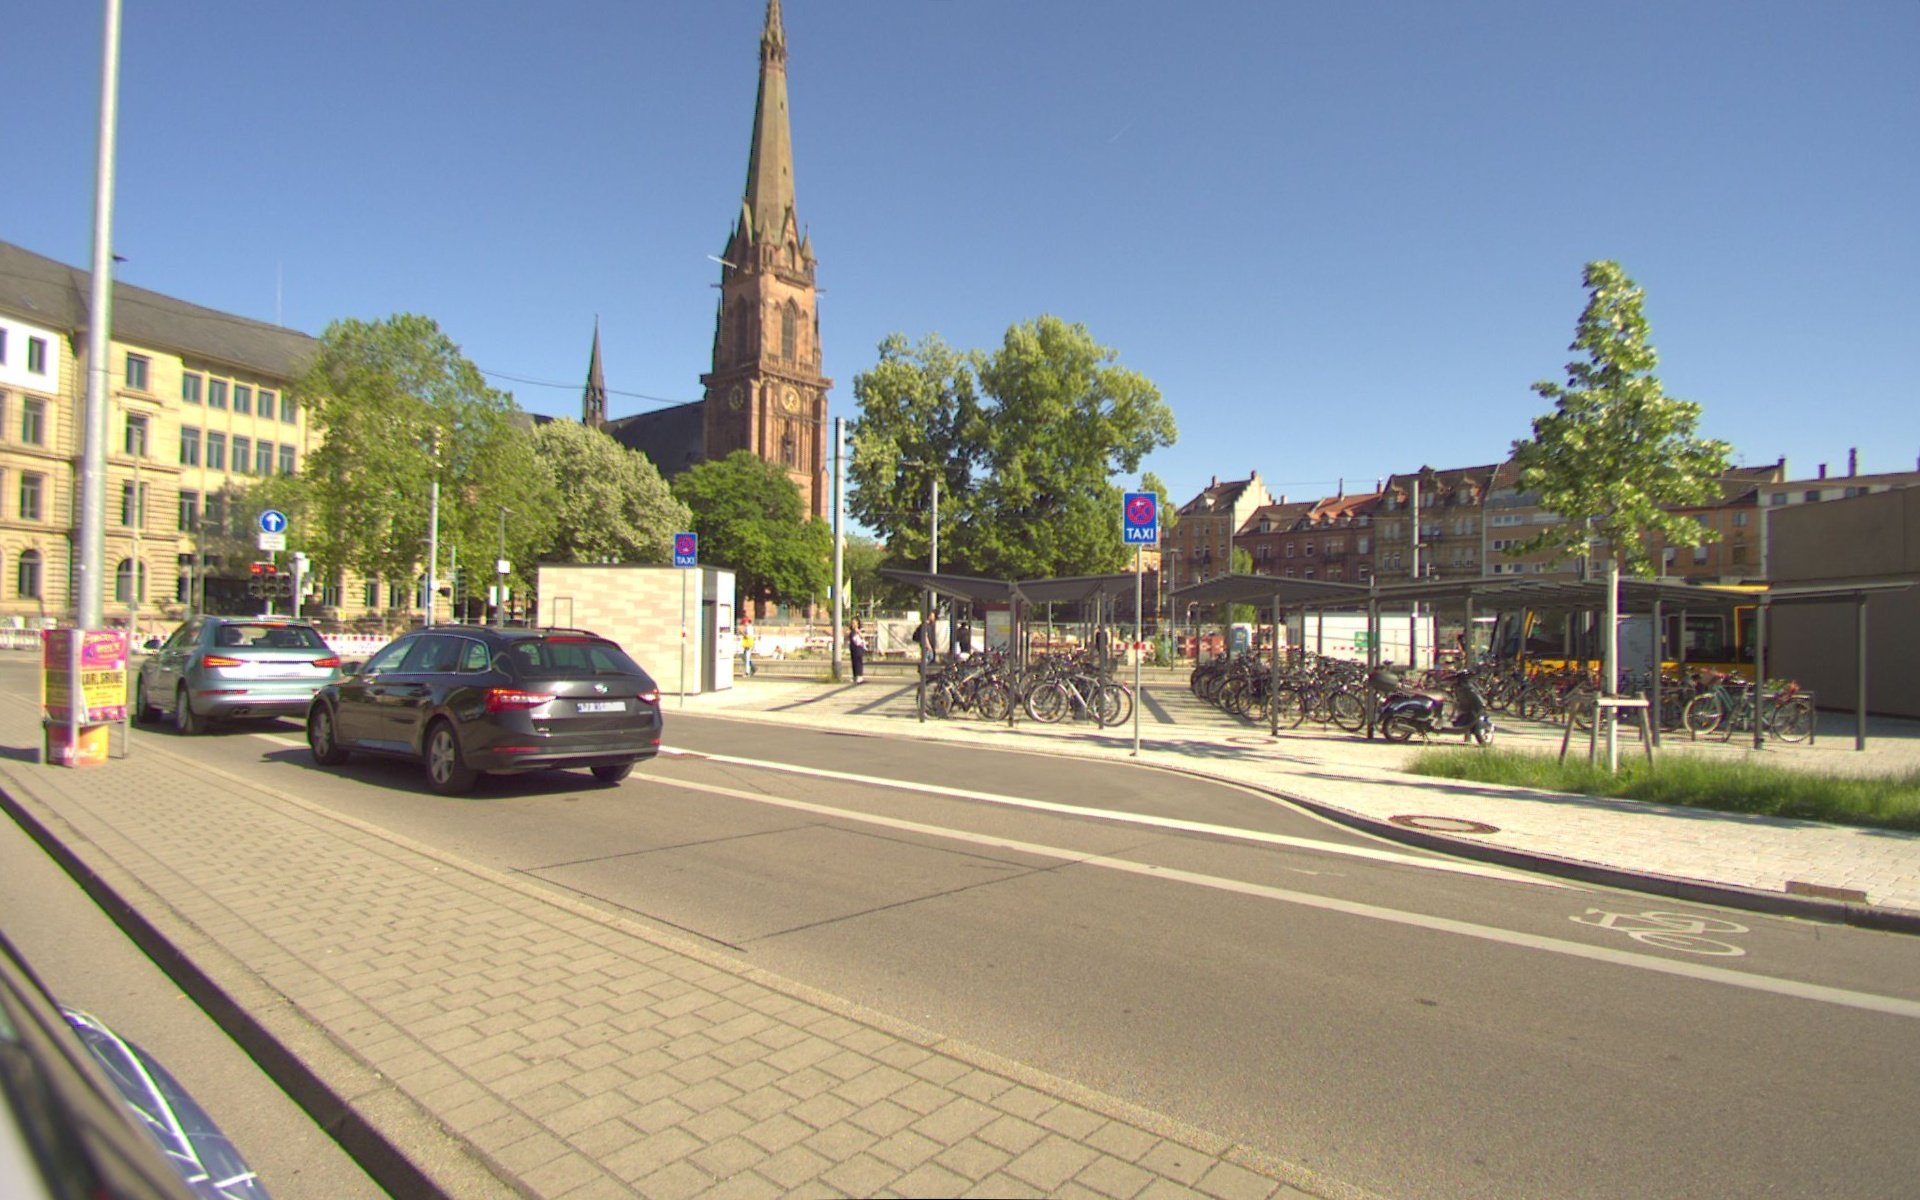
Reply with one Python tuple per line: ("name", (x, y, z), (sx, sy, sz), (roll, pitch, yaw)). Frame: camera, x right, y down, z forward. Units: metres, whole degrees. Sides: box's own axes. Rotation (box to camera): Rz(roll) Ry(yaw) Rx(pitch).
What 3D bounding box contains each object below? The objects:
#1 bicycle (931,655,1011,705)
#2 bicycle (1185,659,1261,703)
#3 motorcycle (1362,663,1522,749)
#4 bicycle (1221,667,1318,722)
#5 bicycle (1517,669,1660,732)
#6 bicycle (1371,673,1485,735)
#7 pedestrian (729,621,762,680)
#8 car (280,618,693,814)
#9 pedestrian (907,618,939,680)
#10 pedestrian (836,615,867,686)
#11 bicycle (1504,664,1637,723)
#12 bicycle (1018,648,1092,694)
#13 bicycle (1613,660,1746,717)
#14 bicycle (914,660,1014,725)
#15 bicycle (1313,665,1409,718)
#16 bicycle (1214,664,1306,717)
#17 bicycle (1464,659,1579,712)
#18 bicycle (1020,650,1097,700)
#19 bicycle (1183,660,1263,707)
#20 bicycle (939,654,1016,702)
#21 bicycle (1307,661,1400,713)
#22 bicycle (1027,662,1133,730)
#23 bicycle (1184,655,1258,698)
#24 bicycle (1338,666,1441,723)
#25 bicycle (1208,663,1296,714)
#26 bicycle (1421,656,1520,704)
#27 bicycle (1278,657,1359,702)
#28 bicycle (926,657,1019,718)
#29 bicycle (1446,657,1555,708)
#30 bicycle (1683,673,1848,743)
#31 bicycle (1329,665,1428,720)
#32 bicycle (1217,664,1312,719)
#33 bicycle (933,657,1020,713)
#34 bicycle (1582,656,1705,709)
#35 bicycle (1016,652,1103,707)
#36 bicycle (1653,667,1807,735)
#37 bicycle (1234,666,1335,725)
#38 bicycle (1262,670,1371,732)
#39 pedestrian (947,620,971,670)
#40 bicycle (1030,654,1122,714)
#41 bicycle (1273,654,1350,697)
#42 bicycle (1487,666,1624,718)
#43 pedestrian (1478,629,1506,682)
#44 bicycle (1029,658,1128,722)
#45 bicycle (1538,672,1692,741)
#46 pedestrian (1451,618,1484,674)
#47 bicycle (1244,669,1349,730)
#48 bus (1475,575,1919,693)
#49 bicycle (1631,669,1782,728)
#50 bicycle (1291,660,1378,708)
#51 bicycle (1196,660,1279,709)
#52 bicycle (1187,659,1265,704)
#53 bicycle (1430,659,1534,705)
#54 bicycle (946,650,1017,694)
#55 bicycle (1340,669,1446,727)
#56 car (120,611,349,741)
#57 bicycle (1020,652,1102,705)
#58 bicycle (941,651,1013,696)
("bicycle", (0.230, 1.677, 21.402), (1.663, 1.006, 0.406), (0, 0, 8))
("bicycle", (6.138, 1.882, 23.622), (1.661, 0.980, 0.406), (1, -5, 3))
("motorcycle", (7.194, 1.571, 15.157), (2.059, 1.228, 0.569), (-1, -2, 3))
("bicycle", (5.729, 1.751, 18.766), (1.661, 0.980, 0.406), (-1, 0, 3))
("bicycle", (10.925, 1.740, 17.644), (2.048, 1.045, 0.533), (-1, 0, 8))
("bicycle", (7.768, 1.725, 16.819), (1.661, 0.980, 0.406), (-1, 0, 3))
("pedestrian", (-6.013, 1.408, 28.381), (0.694, 1.635, 0.618), (0, -2, 10))
("car", (-4.869, 0.991, 10.060), (4.780, 1.516, 1.795), (-1, -4, 40))
("pedestrian", (-1.051, 1.395, 28.814), (0.823, 1.740, 0.620), (0, -2, 4))
("pedestrian", (-2.906, 1.342, 27.238), (0.614, 1.874, 0.699), (0, -2, 14))
("bicycle", (11.322, 1.734, 18.810), (2.048, 1.045, 0.533), (-1, 0, 8))
("bicycle", (2.315, 1.725, 24.675), (1.755, 1.083, 0.406), (1, 0, 6))
("bicycle", (13.853, 1.701, 19.523), (2.048, 1.045, 0.533), (-1, 0, 8))
("bicycle", (0.068, 1.575, 17.380), (1.663, 1.006, 0.406), (2, 0, 8))
("bicycle", (7.717, 1.764, 19.527), (1.661, 0.980, 0.406), (-1, 0, 3))
("bicycle", (5.902, 1.782, 19.956), (1.661, 0.980, 0.406), (1, 0, 3))
("bicycle", (11.777, 1.796, 21.262), (2.048, 1.045, 0.533), (-1, 2, 8))
("bicycle", (2.273, 1.732, 23.496), (1.755, 1.083, 0.406), (1, 0, 6))
("bicycle", (5.786, 1.838, 22.294), (1.661, 0.980, 0.406), (1, -5, 3))
("bicycle", (0.385, 1.706, 22.282), (1.663, 1.006, 0.406), (0, 0, 8))
("bicycle", (7.858, 1.731, 20.226), (1.661, 0.980, 0.406), (-1, 0, 3))
("bicycle", (2.023, 1.607, 17.090), (1.753, 1.083, 0.406), (1, -3, 6))
("bicycle", (6.256, 1.838, 24.309), (1.661, 0.980, 0.406), (1, -5, 3))
("bicycle", (7.824, 1.724, 18.457), (1.661, 0.980, 0.406), (-1, 0, 3))
("bicycle", (5.925, 1.786, 20.562), (1.661, 0.980, 0.406), (1, -5, 3))
("bicycle", (12.301, 1.920, 24.427), (2.048, 1.045, 0.533), (1, 3, 8))
("bicycle", (8.074, 1.789, 22.836), (1.661, 0.980, 0.406), (-1, 0, 3))
("bicycle", (0.232, 1.598, 18.599), (1.663, 1.006, 0.406), (2, 0, 8))
("bicycle", (11.866, 1.803, 22.253), (2.048, 1.045, 0.533), (-1, 2, 8))
("bicycle", (12.799, 1.715, 16.131), (2.048, 1.045, 0.533), (-1, 0, 8))
("bicycle", (7.843, 1.732, 19.011), (1.661, 0.980, 0.406), (-1, 0, 3))
("bicycle", (5.815, 1.738, 19.373), (1.661, 0.980, 0.406), (1, 0, 3))
("bicycle", (0.329, 1.665, 19.942), (1.663, 1.006, 0.406), (2, 0, 8))
("bicycle", (14.078, 1.698, 20.875), (2.048, 1.045, 0.533), (-1, 0, 8))
("bicycle", (2.053, 1.644, 20.971), (1.755, 1.083, 0.406), (1, 0, 6))
("bicycle", (12.989, 1.698, 17.113), (2.030, 1.087, 0.604), (-1, 0, 7))
("bicycle", (5.816, 1.710, 18.186), (1.661, 0.980, 0.406), (1, 0, 3))
("bicycle", (5.934, 1.686, 16.887), (1.661, 0.980, 0.406), (-1, 0, 3))
("pedestrian", (-0.050, 1.727, 38.972), (0.610, 1.874, 0.703), (2, -2, -39))
("bicycle", (2.236, 1.621, 19.580), (1.755, 1.083, 0.406), (1, 0, 6))
("bicycle", (8.292, 1.786, 23.912), (1.661, 0.980, 0.406), (-1, 0, 3))
("bicycle", (11.614, 1.799, 19.788), (2.208, 0.951, 0.685), (-1, 0, 7))
("pedestrian", (20.523, 2.144, 39.068), (0.793, 2.029, 0.535), (0, -2, 4))
("bicycle", (2.140, 1.618, 18.335), (1.753, 1.083, 0.406), (1, 0, 6))
("bicycle", (10.573, 1.712, 16.387), (2.048, 1.045, 0.533), (-1, 0, 8))
("pedestrian", (17.719, 1.609, 35.346), (0.793, 1.931, 0.769), (0, -2, 4))
("bicycle", (5.794, 1.711, 17.461), (1.661, 0.980, 0.406), (1, 0, 3))
("bus", (22.222, 0.936, 28.614), (13.462, 3.095, 2.859), (0, -2, 6))
("bicycle", (13.480, 1.775, 18.327), (2.117, 1.005, 0.690), (-1, 0, 7))
("bicycle", (7.989, 1.791, 21.621), (1.661, 0.980, 0.406), (-1, 0, 3))
("bicycle", (5.926, 1.807, 21.637), (1.661, 0.980, 0.406), (1, -5, 3))
("bicycle", (6.054, 1.861, 23.049), (1.661, 0.980, 0.406), (1, -5, 3))
("bicycle", (12.031, 1.880, 23.372), (2.048, 1.045, 0.533), (-1, -4, 8))
("bicycle", (0.518, 1.703, 24.185), (1.663, 1.006, 0.406), (0, 0, 8))
("bicycle", (7.644, 1.726, 17.890), (1.661, 0.980, 0.406), (-1, 0, 3))
("car", (-10.520, 1.021, 14.557), (4.257, 1.594, 1.768), (-1, -4, 42))
("bicycle", (2.194, 1.695, 22.026), (1.755, 1.083, 0.406), (1, 0, 6))
("bicycle", (0.394, 1.703, 23.660), (1.663, 1.006, 0.406), (0, 0, 8))
